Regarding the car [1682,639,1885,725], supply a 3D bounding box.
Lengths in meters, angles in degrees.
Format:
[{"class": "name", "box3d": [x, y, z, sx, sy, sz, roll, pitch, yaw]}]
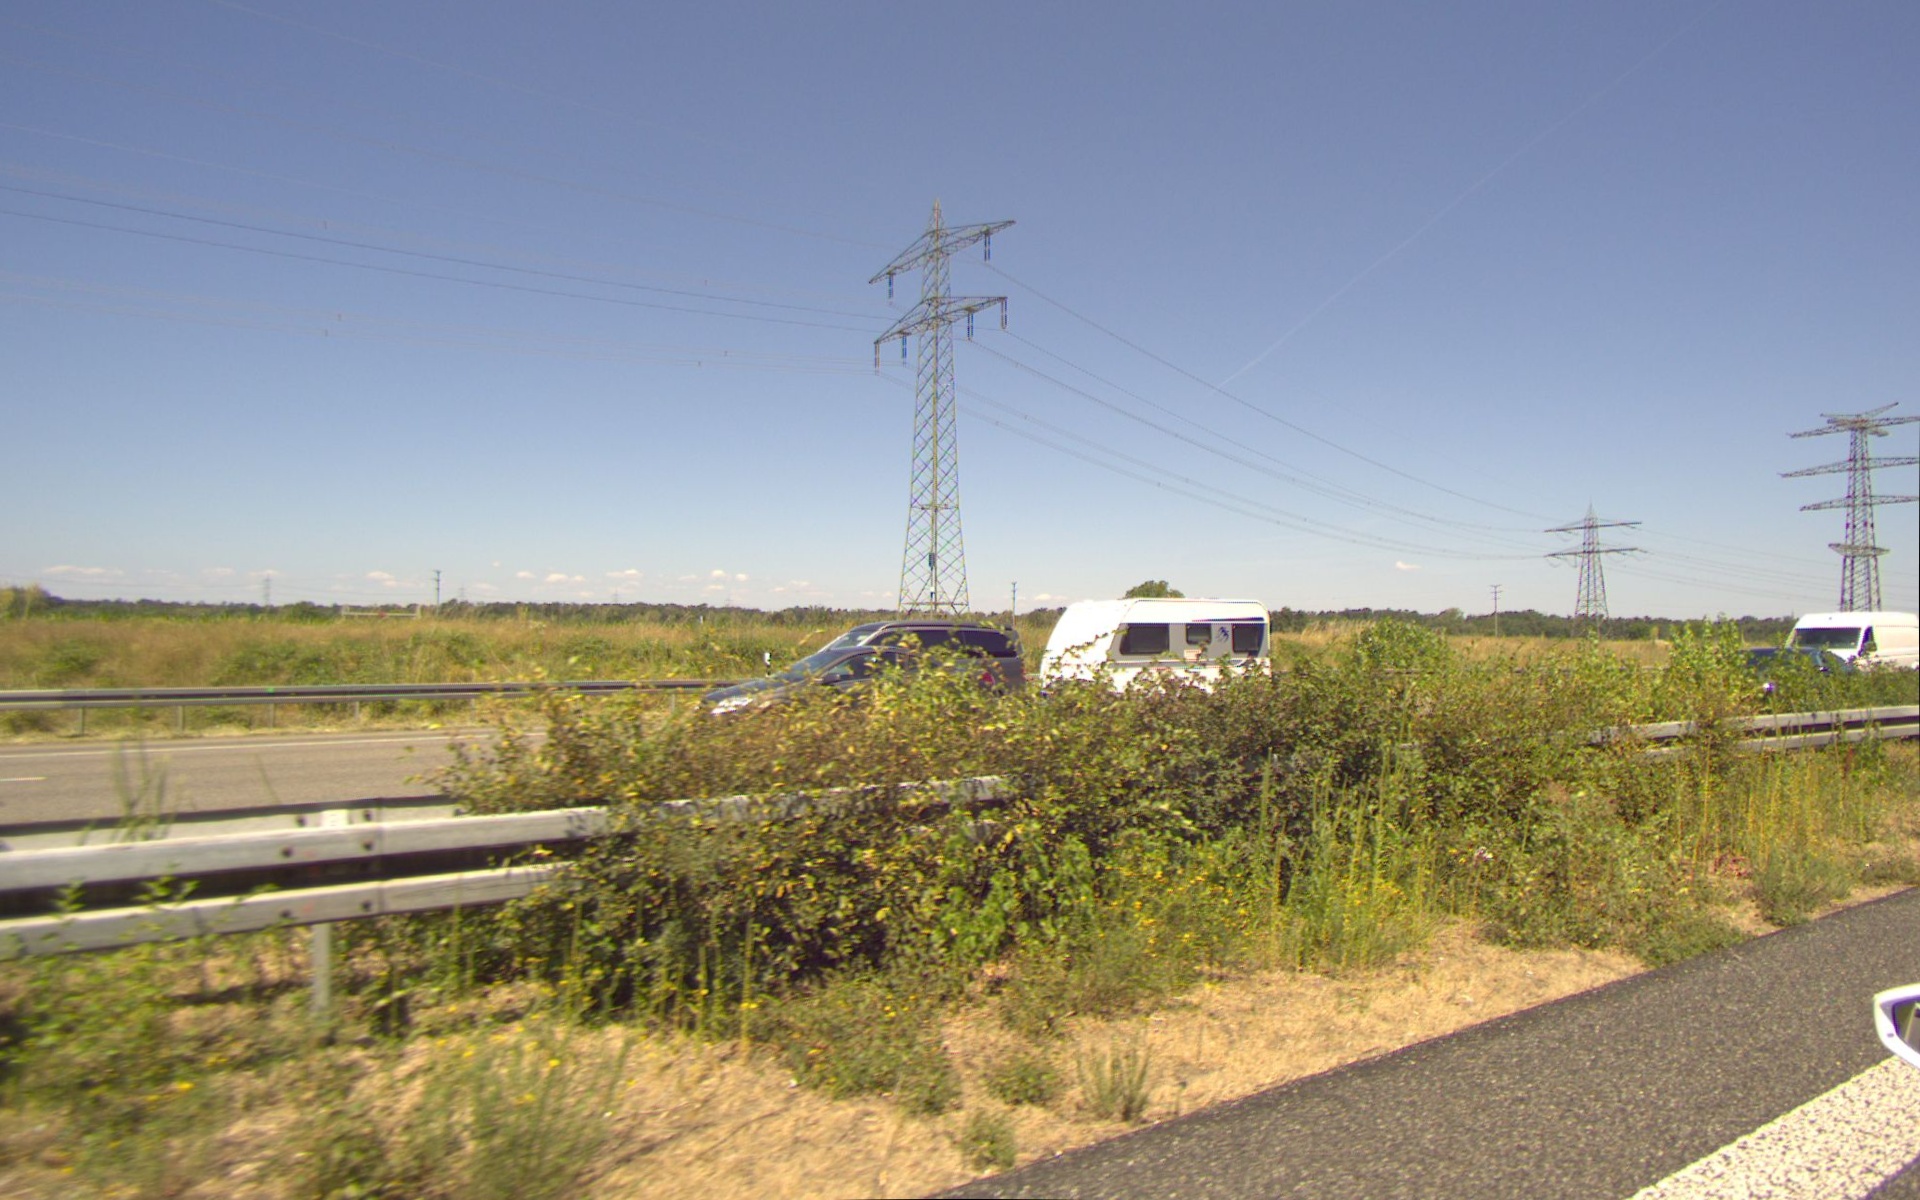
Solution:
[{"class": "car", "box3d": [16.311, 1.546, 19.853, 4.393, 1.532, 1.788, 2, -2, -32]}]

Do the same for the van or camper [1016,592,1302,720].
[{"class": "van or camper", "box3d": [4.593, 1.221, 22.712, 6.409, 2.551, 2.431, 2, -2, -31]}]

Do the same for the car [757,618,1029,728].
[{"class": "car", "box3d": [-1.230, 1.323, 19.205, 4.814, 1.878, 2.037, 2, -2, -31]}]

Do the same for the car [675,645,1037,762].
[{"class": "car", "box3d": [-1.354, 1.333, 14.032, 4.824, 1.394, 1.548, 2, -2, -30]}]

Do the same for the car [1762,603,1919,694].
[{"class": "car", "box3d": [28.551, 1.552, 32.012, 7.379, 2.665, 2.096, 2, -3, -30]}]
